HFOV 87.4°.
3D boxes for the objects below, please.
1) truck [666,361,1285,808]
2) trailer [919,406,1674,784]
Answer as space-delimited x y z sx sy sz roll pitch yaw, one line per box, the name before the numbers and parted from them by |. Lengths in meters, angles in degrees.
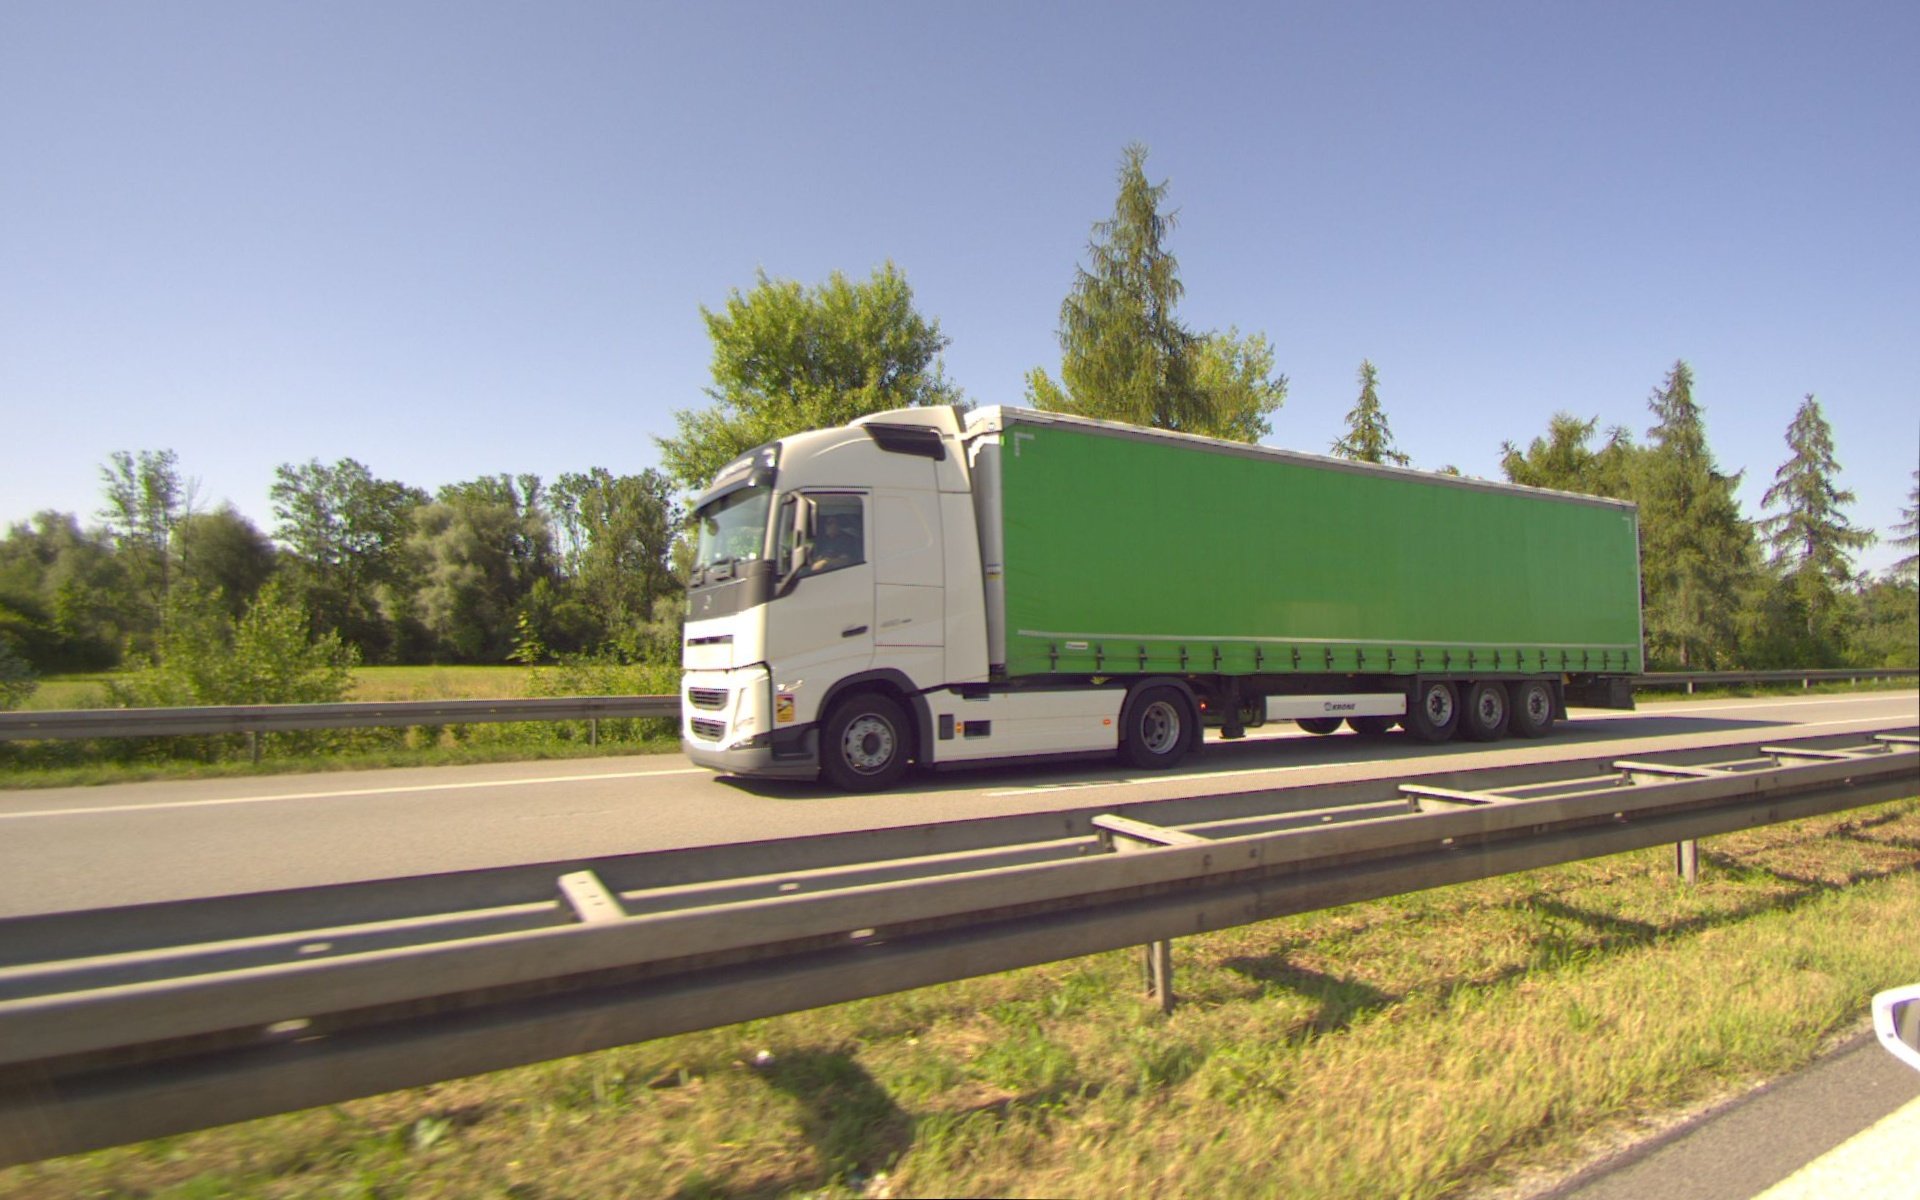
truck | 0.388 -0.020 12.066 7.109 4.060 2.632 1 -3 -31
trailer | 6.093 0.141 15.518 13.925 4.060 2.648 1 -3 -31
